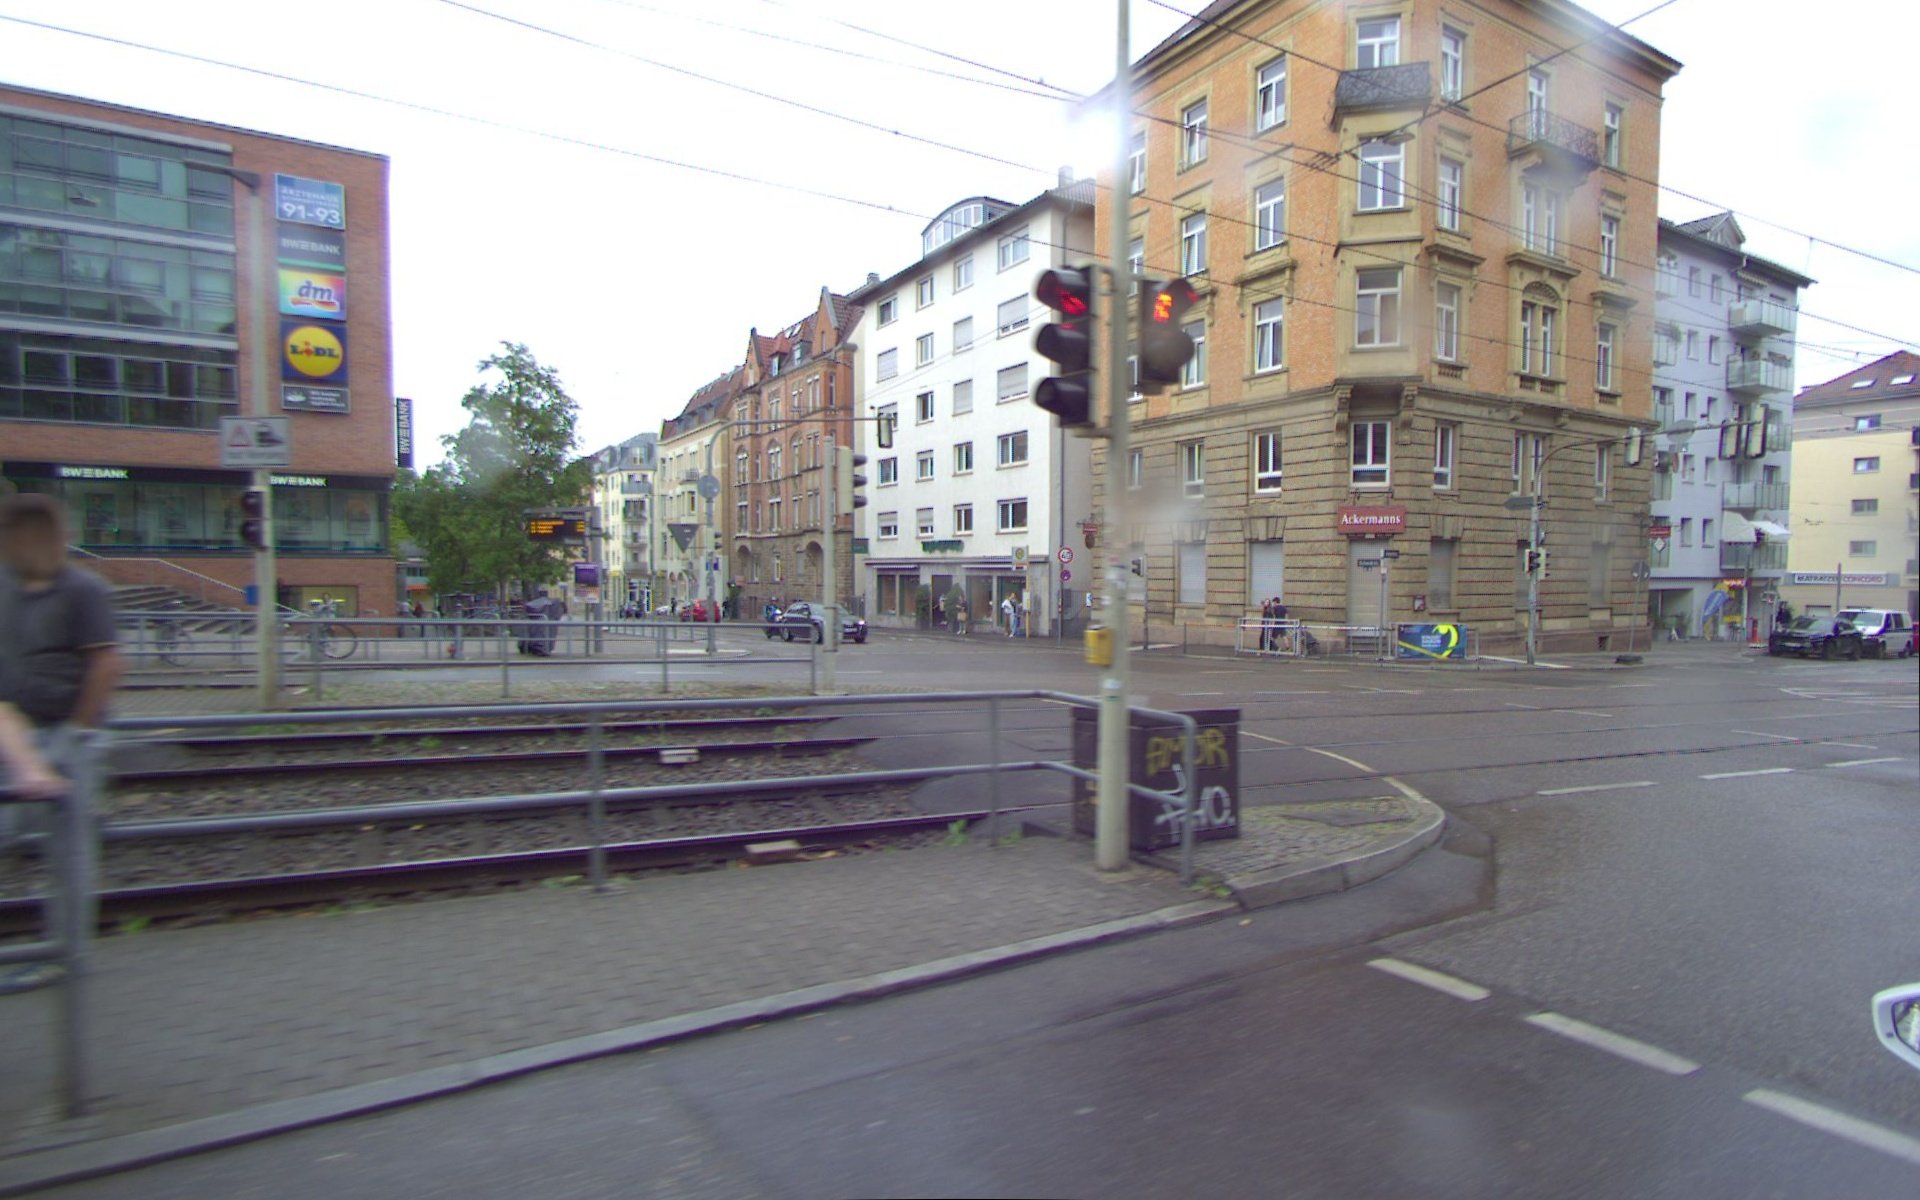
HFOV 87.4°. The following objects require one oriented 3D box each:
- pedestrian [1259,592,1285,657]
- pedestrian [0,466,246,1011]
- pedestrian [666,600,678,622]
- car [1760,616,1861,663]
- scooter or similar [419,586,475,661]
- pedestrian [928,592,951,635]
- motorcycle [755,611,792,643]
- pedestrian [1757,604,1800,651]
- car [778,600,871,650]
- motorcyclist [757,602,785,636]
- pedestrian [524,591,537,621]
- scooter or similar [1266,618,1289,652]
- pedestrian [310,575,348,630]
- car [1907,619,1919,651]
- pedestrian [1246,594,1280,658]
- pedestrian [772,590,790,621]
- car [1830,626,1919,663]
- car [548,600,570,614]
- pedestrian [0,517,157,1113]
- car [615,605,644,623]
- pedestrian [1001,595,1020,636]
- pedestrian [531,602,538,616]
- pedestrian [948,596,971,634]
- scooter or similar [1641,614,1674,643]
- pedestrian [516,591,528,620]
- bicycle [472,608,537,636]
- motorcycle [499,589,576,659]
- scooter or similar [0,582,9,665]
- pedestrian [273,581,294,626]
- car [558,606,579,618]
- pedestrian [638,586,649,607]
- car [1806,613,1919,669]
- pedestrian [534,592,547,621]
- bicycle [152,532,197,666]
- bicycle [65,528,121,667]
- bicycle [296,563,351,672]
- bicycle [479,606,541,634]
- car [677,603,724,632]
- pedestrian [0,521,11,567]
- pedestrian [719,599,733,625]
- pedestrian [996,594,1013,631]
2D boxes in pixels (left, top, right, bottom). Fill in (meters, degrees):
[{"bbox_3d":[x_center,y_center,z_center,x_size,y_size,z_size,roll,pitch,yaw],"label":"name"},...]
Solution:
[{"bbox_3d":[9.146,0.708,29.431,0.616,1.864,0.639,1,0,26],"label":"pedestrian"},{"bbox_3d":[-3.326,0.462,3.762,0.991,1.822,0.820,1,0,-34],"label":"pedestrian"},{"bbox_3d":[-24.973,0.946,87.191,0.805,1.861,0.763,1,0,-32],"label":"pedestrian"},{"bbox_3d":[32.522,1.491,38.366,4.316,1.673,1.723,1,1,-33],"label":"car"},{"bbox_3d":[-9.962,0.435,19.477,1.485,1.389,0.450,2,1,42],"label":"scooter or similar"},{"bbox_3d":[-1.001,0.642,48.543,0.758,2.040,0.860,1,0,-27],"label":"pedestrian"},{"bbox_3d":[-7.342,1.039,39.466,0.856,1.174,1.837,1,0,-30],"label":"motorcycle"},{"bbox_3d":[35.204,1.177,43.215,1.168,1.955,1.162,1,1,-39],"label":"pedestrian"},{"bbox_3d":[-4.853,0.854,35.546,1.821,1.688,3.965,1,-1,-32],"label":"car"},{"bbox_3d":[-7.470,0.759,39.700,0.832,1.320,0.808,1,0,-30],"label":"motorcyclist"},{"bbox_3d":[-24.555,0.350,57.419,0.568,1.651,0.568,1,1,-32],"label":"pedestrian"},{"bbox_3d":[9.282,1.021,29.356,0.545,0.957,0.577,1,0,28],"label":"scooter or similar"},{"bbox_3d":[-20.384,0.089,32.459,0.998,1.753,0.891,1,0,-32],"label":"pedestrian"},{"bbox_3d":[46.601,1.700,47.371,4.024,1.471,1.646,2,0,-29],"label":"car"},{"bbox_3d":[8.671,0.726,28.751,0.632,1.791,0.622,-3,2,-30],"label":"pedestrian"},{"bbox_3d":[-10.712,0.326,60.032,0.805,1.861,0.763,1,0,-32],"label":"pedestrian"},{"bbox_3d":[41.358,1.990,44.551,3.902,1.453,1.786,2,1,2],"label":"car"},{"bbox_3d":[-41.116,0.725,102.994,1.616,1.310,3.970,1,1,-28],"label":"car"},{"bbox_3d":[-3.049,0.576,2.934,0.991,1.626,0.829,1,0,-34],"label":"pedestrian"},{"bbox_3d":[-27.415,1.183,83.256,1.617,1.310,3.969,1,1,-29],"label":"car"},{"bbox_3d":[2.096,0.651,41.709,0.587,1.690,0.599,1,0,-21],"label":"pedestrian"},{"bbox_3d":[-57.541,1.256,135.822,0.805,1.861,0.763,1,0,-32],"label":"pedestrian"},{"bbox_3d":[-0.030,0.684,45.439,0.659,1.692,0.827,1,1,-28],"label":"pedestrian"},{"bbox_3d":[30.271,1.256,43.597,0.314,1.225,1.079,1,-3,-42],"label":"scooter or similar"},{"bbox_3d":[-25.548,0.327,58.551,0.567,1.651,0.482,1,1,-31],"label":"pedestrian"},{"bbox_3d":[-18.746,0.897,41.378,2.347,1.116,0.692,1,1,-39],"label":"bicycle"},{"bbox_3d":[-9.032,0.478,21.382,0.858,1.389,2.630,2,-1,-37],"label":"motorcycle"},{"bbox_3d":[-14.673,0.320,14.961,1.692,1.210,0.477,1,0,38],"label":"scooter or similar"},{"bbox_3d":[-24.496,0.121,36.382,0.586,1.587,0.515,1,1,-33],"label":"pedestrian"},{"bbox_3d":[-45.787,1.402,117.450,1.619,1.310,3.984,1,1,-32],"label":"car"},{"bbox_3d":[-29.247,-0.327,92.774,0.805,1.861,0.763,1,0,-32],"label":"pedestrian"},{"bbox_3d":[37.555,1.655,41.767,5.243,2.036,2.058,1,3,-32],"label":"car"},{"bbox_3d":[-24.255,0.352,58.068,0.593,1.651,0.568,1,1,-32],"label":"pedestrian"},{"bbox_3d":[-12.673,-0.037,16.227,0.514,2.041,1.876,1,1,-37],"label":"bicycle"},{"bbox_3d":[-13.434,-0.059,15.593,0.514,2.041,1.876,1,1,-37],"label":"bicycle"},{"bbox_3d":[-11.075,0.269,17.446,0.552,1.720,2.074,3,2,-37],"label":"bicycle"},{"bbox_3d":[-19.034,0.862,42.525,2.338,1.116,0.846,1,1,-29],"label":"bicycle"},{"bbox_3d":[-15.723,1.058,60.797,1.619,1.603,3.964,1,1,-32],"label":"car"},{"bbox_3d":[-37.729,-2.204,39.392,0.642,1.753,0.612,1,1,-39],"label":"pedestrian"},{"bbox_3d":[-17.158,0.869,73.616,0.805,1.861,0.763,1,0,-32],"label":"pedestrian"},{"bbox_3d":[1.887,0.537,42.595,0.492,1.557,0.528,1,1,-27],"label":"pedestrian"}]
